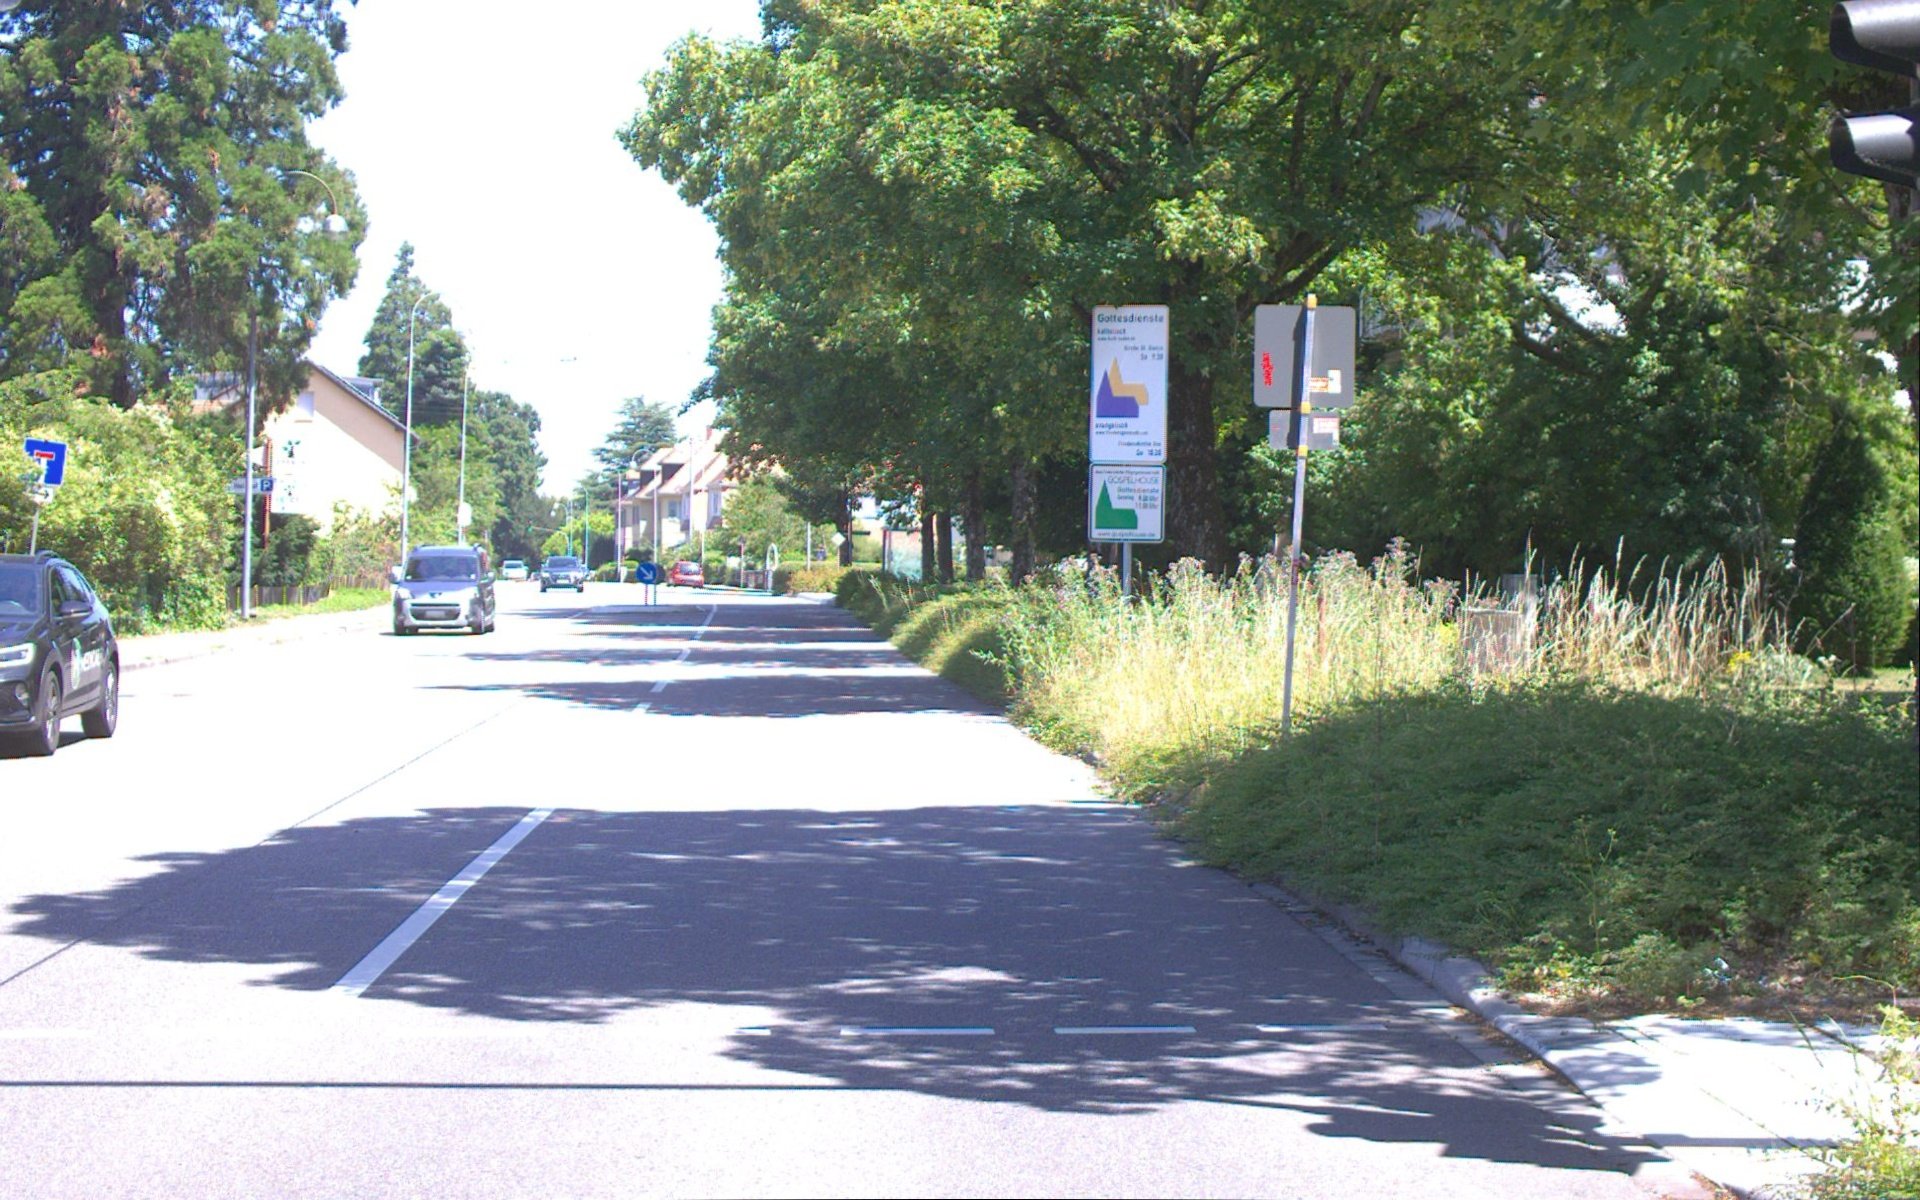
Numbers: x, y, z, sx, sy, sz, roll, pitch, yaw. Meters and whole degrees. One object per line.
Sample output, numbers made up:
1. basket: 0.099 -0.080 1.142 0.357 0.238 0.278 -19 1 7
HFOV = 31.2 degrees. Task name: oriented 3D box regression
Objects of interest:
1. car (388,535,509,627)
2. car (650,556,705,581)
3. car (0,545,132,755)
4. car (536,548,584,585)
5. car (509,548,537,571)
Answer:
1. car: -10.228 -0.405 68.987 1.811 1.756 4.570 1 1 -1
2. car: -15.258 -1.714 185.510 1.943 1.355 4.465 0 1 -19
3. car: -7.675 0.329 26.569 1.869 1.501 4.053 0 1 -5
4. car: -17.317 -1.454 148.855 1.793 1.531 4.316 0 1 -3
5. car: -32.068 -2.950 252.549 1.680 1.678 4.000 0 1 -2
